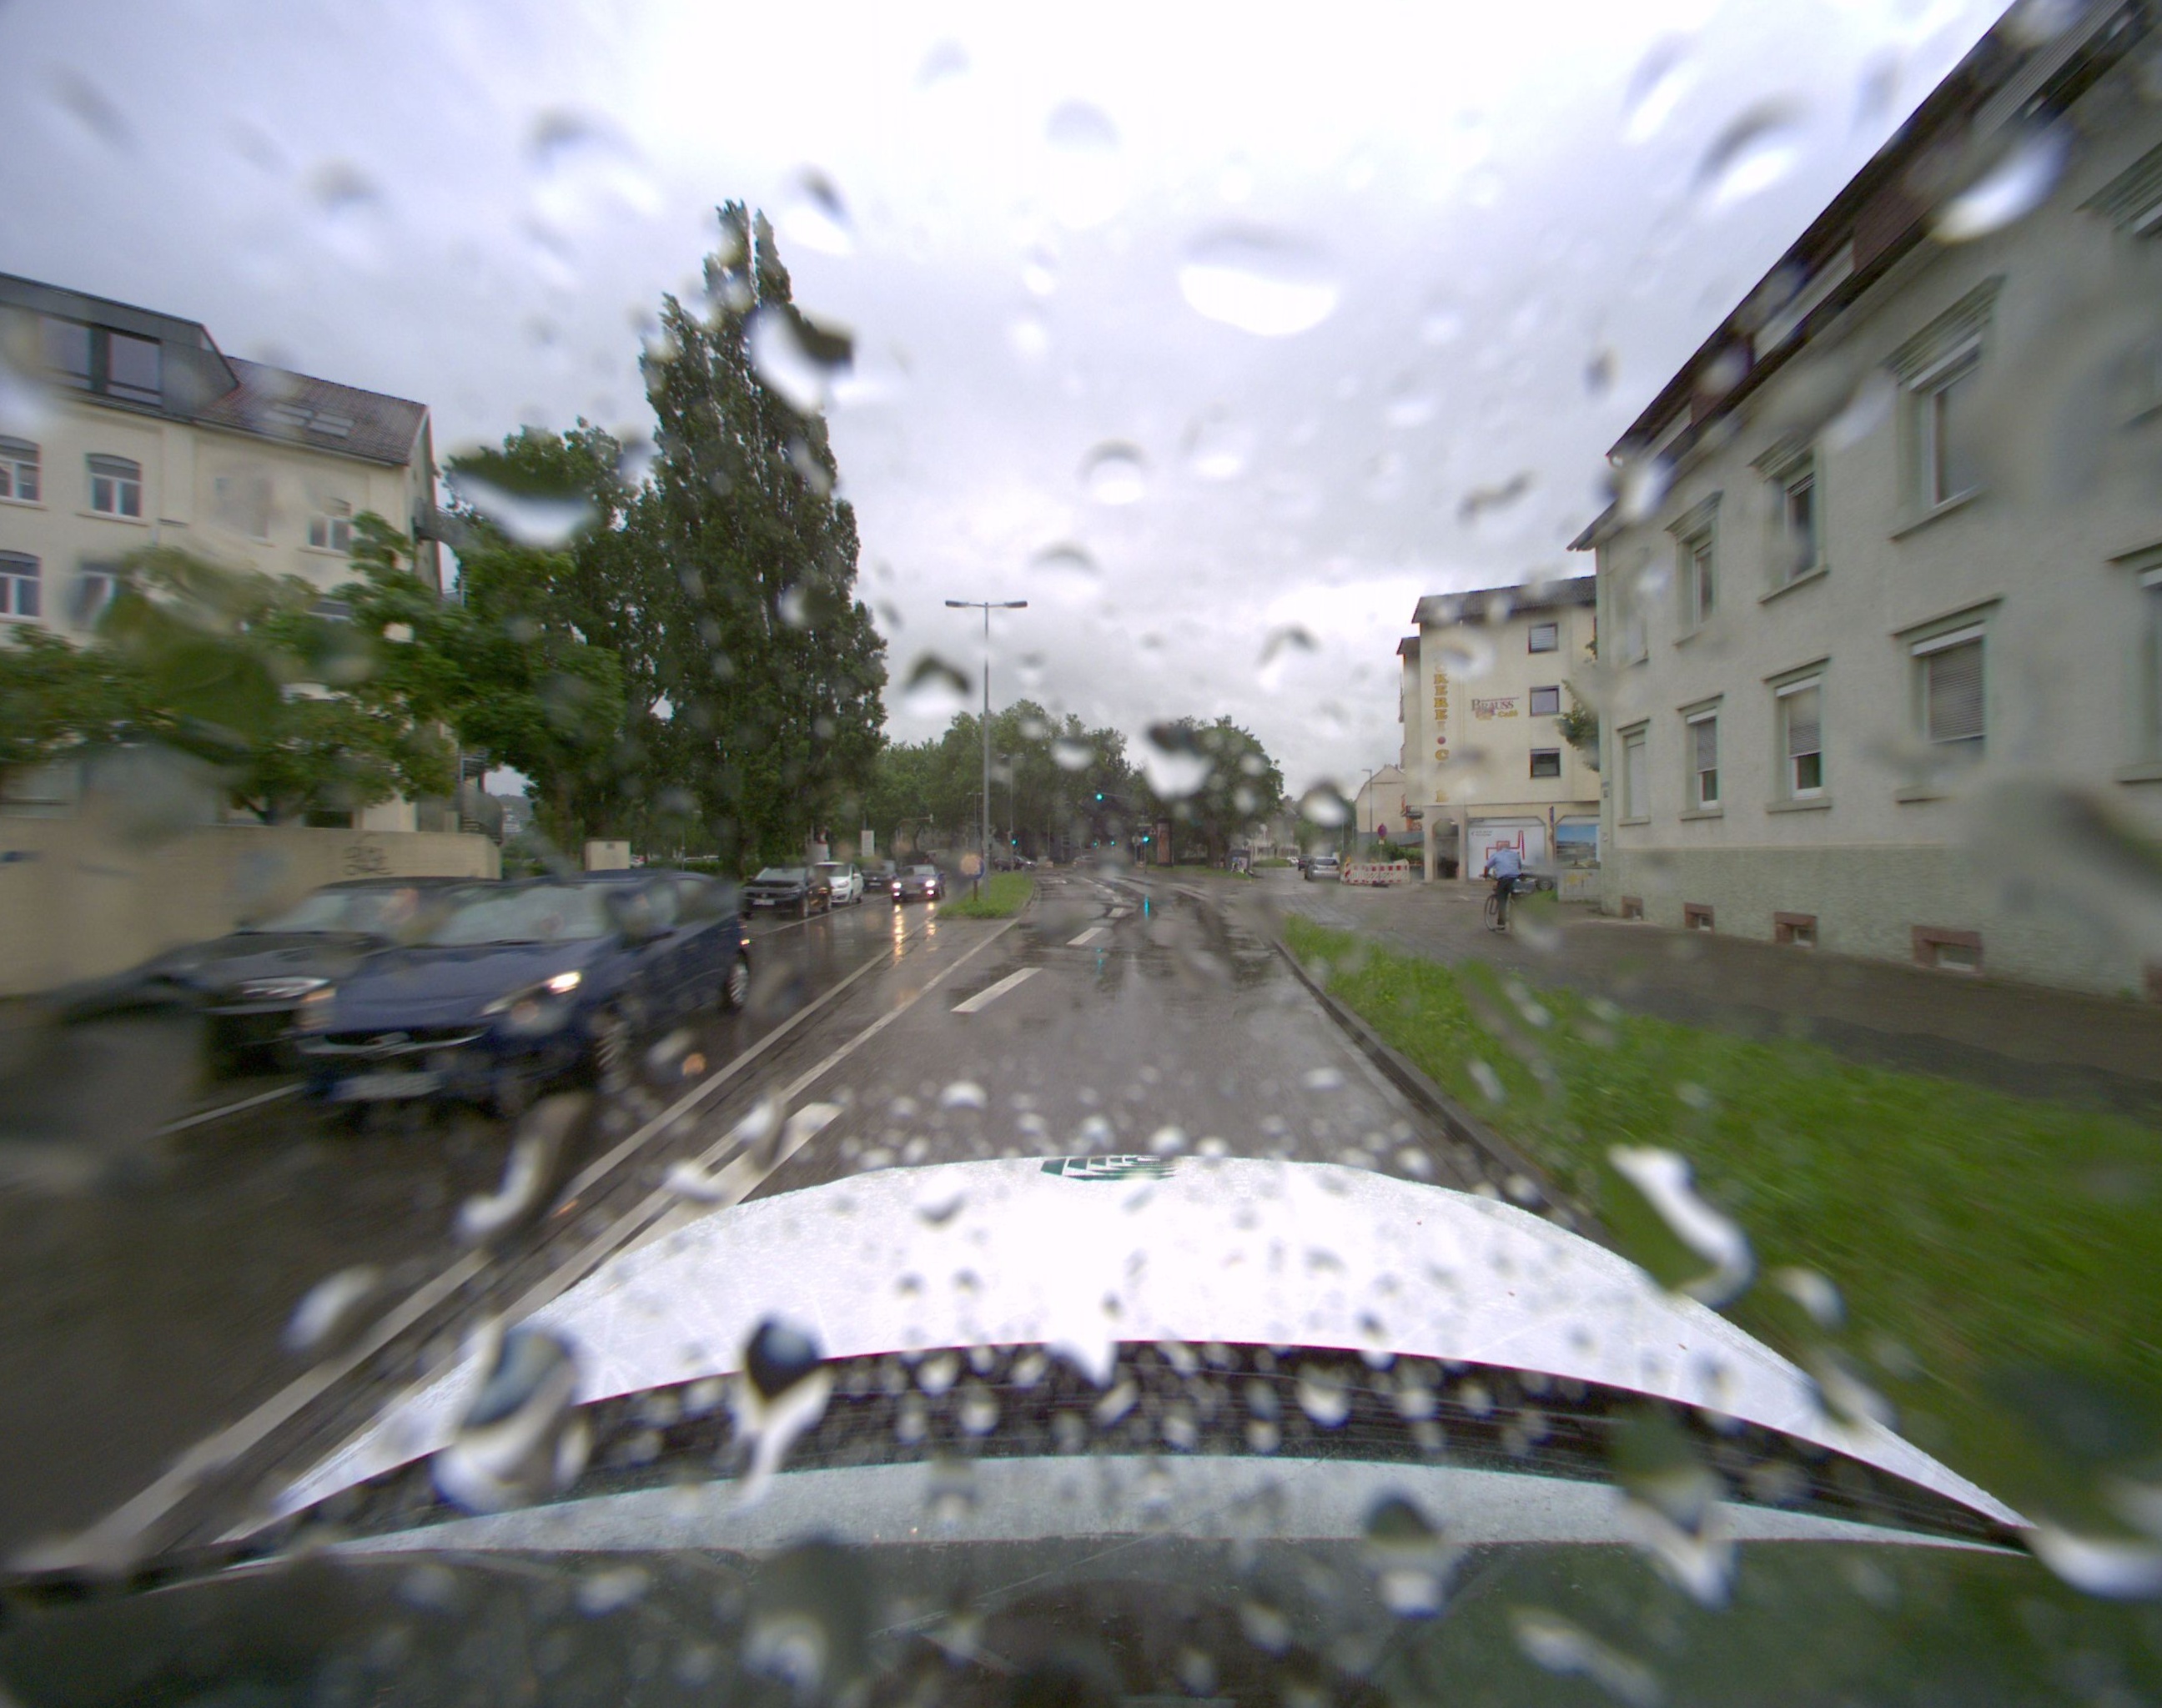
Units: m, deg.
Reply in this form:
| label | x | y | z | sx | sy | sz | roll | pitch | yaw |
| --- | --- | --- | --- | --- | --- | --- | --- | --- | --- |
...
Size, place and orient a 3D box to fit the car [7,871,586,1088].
| label | x | y | z | sx | sy | sz | roll | pitch | yaw |
| --- | --- | --- | --- | --- | --- | --- | --- | --- | --- |
| car | -6.705 | 0.919 | 7.746 | 1.693 | 1.445 | 4.091 | 1 | -1 | -4 |

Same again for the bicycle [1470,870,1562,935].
| label | x | y | z | sx | sy | sz | roll | pitch | yaw |
| --- | --- | --- | --- | --- | --- | --- | --- | --- | --- |
| bicycle | 7.958 | 0.856 | 15.007 | 0.670 | 1.060 | 1.972 | 0 | 0 | 1 |

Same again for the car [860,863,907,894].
| label | x | y | z | sx | sy | sz | roll | pitch | yaw |
| --- | --- | --- | --- | --- | --- | --- | --- | --- | --- |
| car | -9.389 | 1.140 | 38.971 | 1.542 | 1.397 | 4.186 | 1 | -1 | -5 |

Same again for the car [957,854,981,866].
| label | x | y | z | sx | sy | sz | roll | pitch | yaw |
| --- | --- | --- | --- | --- | --- | --- | --- | --- | --- |
| car | -14.664 | 0.776 | 106.260 | 1.718 | 1.411 | 3.606 | -3 | 1 | -33 |

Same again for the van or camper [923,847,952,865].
| label | x | y | z | sx | sy | sz | roll | pitch | yaw |
| --- | --- | --- | --- | --- | --- | --- | --- | --- | --- |
| van or camper | -23.482 | 0.386 | 133.321 | 2.334 | 2.807 | 6.795 | 0 | -1 | -31 |

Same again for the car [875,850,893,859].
| label | x | y | z | sx | sy | sz | roll | pitch | yaw |
| --- | --- | --- | --- | --- | --- | --- | --- | --- | --- |
| car | -37.302 | 0.116 | 153.967 | 1.929 | 1.620 | 4.324 | 1 | -1 | -34 |

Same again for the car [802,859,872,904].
| label | x | y | z | sx | sy | sz | roll | pitch | yaw |
| --- | --- | --- | --- | --- | --- | --- | --- | --- | --- |
| car | -8.388 | 0.903 | 28.294 | 1.600 | 1.474 | 4.112 | 0 | -1 | -7 |

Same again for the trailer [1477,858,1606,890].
| label | x | y | z | sx | sy | sz | roll | pitch | yaw |
| --- | --- | --- | --- | --- | --- | --- | --- | --- | --- |
| trailer | 18.644 | 0.773 | 33.131 | 4.476 | 1.232 | 1.836 | 0 | -1 | 29 |

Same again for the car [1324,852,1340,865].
| label | x | y | z | sx | sy | sz | roll | pitch | yaw |
| --- | --- | --- | --- | --- | --- | --- | --- | --- | --- |
| car | 44.792 | 0.847 | 145.133 | 2.329 | 2.208 | 4.637 | 0 | -1 | 23 |

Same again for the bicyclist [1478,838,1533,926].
| label | x | y | z | sx | sy | sz | roll | pitch | yaw |
| --- | --- | --- | --- | --- | --- | --- | --- | --- | --- |
| bicyclist | 7.810 | 0.501 | 14.995 | 0.636 | 1.582 | 0.716 | 0 | 0 | 0 |

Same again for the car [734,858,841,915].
| label | x | y | z | sx | sy | sz | roll | pitch | yaw |
| --- | --- | --- | --- | --- | --- | --- | --- | --- | --- |
| car | -7.987 | 0.842 | 22.564 | 1.724 | 1.383 | 4.172 | 2 | -1 | -5 |

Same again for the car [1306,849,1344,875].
| label | x | y | z | sx | sy | sz | roll | pitch | yaw |
| --- | --- | --- | --- | --- | --- | --- | --- | --- | --- |
| car | 14.278 | 0.464 | 47.834 | 1.624 | 1.433 | 4.188 | 0 | -1 | 10 |

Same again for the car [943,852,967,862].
| label | x | y | z | sx | sy | sz | roll | pitch | yaw |
| --- | --- | --- | --- | --- | --- | --- | --- | --- | --- |
| car | -19.287 | 0.453 | 124.923 | 1.929 | 1.620 | 4.406 | 1 | -1 | -34 |

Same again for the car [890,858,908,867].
| label | x | y | z | sx | sy | sz | roll | pitch | yaw |
| --- | --- | --- | --- | --- | --- | --- | --- | --- | --- |
| car | -30.559 | 1.370 | 136.424 | 1.718 | 1.411 | 3.606 | -3 | 1 | -33 |

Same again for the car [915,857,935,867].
| label | x | y | z | sx | sy | sz | roll | pitch | yaw |
| --- | --- | --- | --- | --- | --- | --- | --- | --- | --- |
| car | -23.803 | 1.266 | 123.879 | 1.718 | 1.411 | 3.606 | -3 | 1 | -33 |

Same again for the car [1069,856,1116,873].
| label | x | y | z | sx | sy | sz | roll | pitch | yaw |
| --- | --- | --- | --- | --- | --- | --- | --- | --- | --- |
| car | 1.115 | 0.980 | 77.607 | 4.106 | 1.602 | 1.978 | 1 | -1 | -36 |

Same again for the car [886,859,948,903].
| label | x | y | z | sx | sy | sz | roll | pitch | yaw |
| --- | --- | --- | --- | --- | --- | --- | --- | --- | --- |
| car | -5.961 | 0.942 | 29.971 | 1.724 | 1.393 | 3.943 | -3 | 0 | -5 |

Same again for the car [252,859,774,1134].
| label | x | y | z | sx | sy | sz | roll | pitch | yaw |
| --- | --- | --- | --- | --- | --- | --- | --- | --- | --- |
| car | -4.042 | 0.838 | 6.734 | 1.703 | 1.501 | 3.940 | -3 | 0 | -4 |

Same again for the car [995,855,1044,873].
| label | x | y | z | sx | sy | sz | roll | pitch | yaw |
| --- | --- | --- | --- | --- | --- | --- | --- | --- | --- |
| car | -5.934 | 0.951 | 78.968 | 4.259 | 1.744 | 2.008 | 0 | -1 | 15 |

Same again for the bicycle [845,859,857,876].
| label | x | y | z | sx | sy | sz | roll | pitch | yaw |
| --- | --- | --- | --- | --- | --- | --- | --- | --- | --- |
| bicycle | -15.178 | 0.870 | 53.753 | 0.555 | 1.077 | 1.790 | 0 | -1 | -9 |

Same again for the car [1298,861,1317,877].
| label | x | y | z | sx | sy | sz | roll | pitch | yaw |
| --- | --- | --- | --- | --- | --- | --- | --- | --- | --- |
| car | 23.697 | 1.583 | 85.196 | 1.840 | 1.654 | 4.323 | 0 | -1 | 16 |
